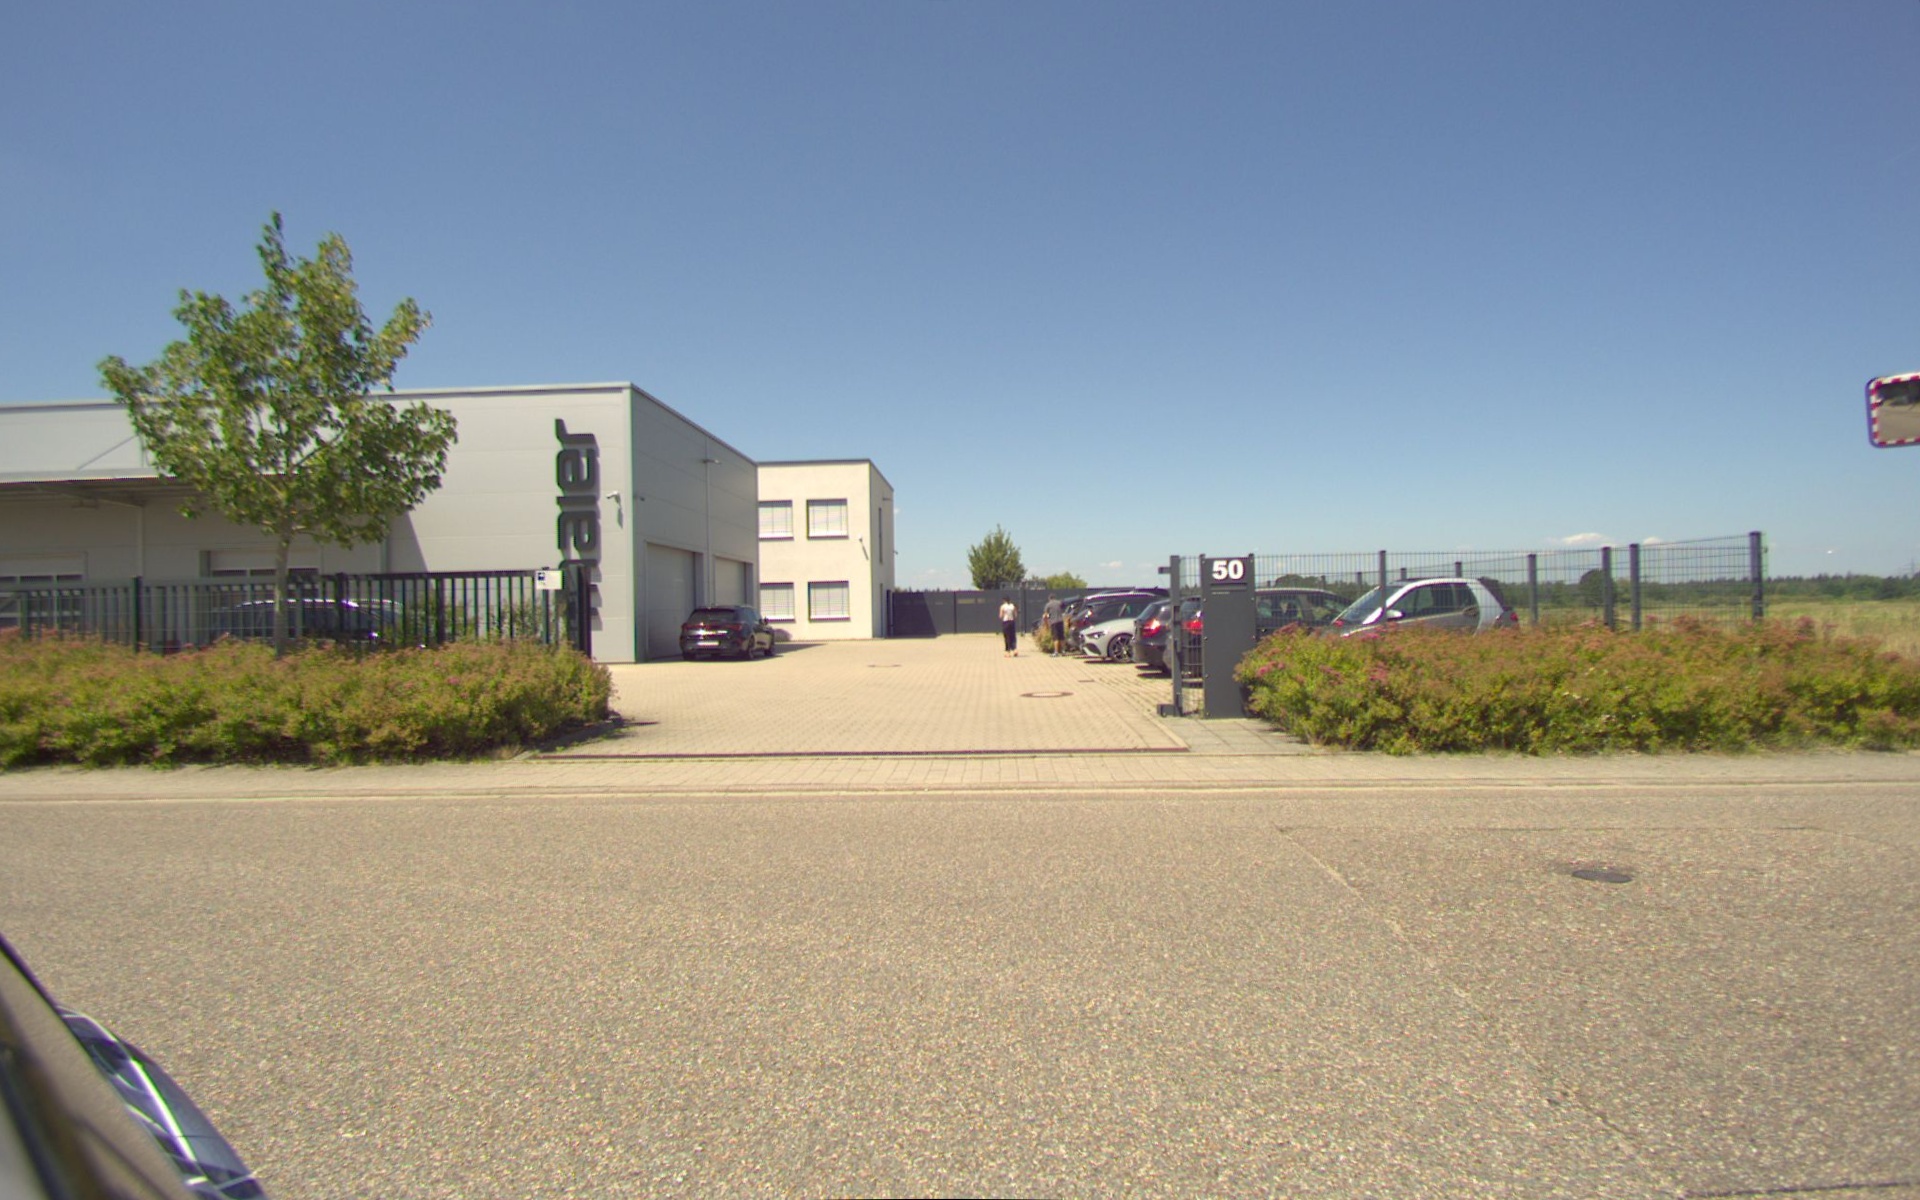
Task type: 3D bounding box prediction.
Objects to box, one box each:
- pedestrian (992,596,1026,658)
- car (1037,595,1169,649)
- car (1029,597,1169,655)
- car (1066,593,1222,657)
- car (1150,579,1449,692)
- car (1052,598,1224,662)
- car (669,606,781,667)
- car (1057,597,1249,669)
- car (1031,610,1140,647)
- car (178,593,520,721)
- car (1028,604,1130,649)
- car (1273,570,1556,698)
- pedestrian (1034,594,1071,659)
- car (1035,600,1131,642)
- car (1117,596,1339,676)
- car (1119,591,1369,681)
[{"bbox_3d":[1.335,0.717,27.483,0.762,1.641,0.623,-1,-1,-12],"label":"pedestrian"},{"bbox_3d":[4.519,0.692,32.462,3.944,1.617,1.677,-1,-1,0],"label":"car"},{"bbox_3d":[4.132,0.775,30.495,3.944,1.618,1.677,-1,-1,0],"label":"car"},{"bbox_3d":[5.019,0.678,27.998,3.944,1.618,1.677,-1,-1,0],"label":"car"},{"bbox_3d":[5.134,0.534,15.714,3.944,1.553,1.831,-1,-1,0],"label":"car"},{"bbox_3d":[4.399,0.747,25.413,3.944,1.451,1.677,-1,-1,0],"label":"car"},{"bbox_3d":[-6.002,0.893,26.239,1.775,1.431,3.866,-1,0,4],"label":"car"},{"bbox_3d":[4.263,0.729,22.766,3.944,1.451,1.677,-1,-1,0],"label":"car"},{"bbox_3d":[4.750,1.076,38.819,3.947,1.320,1.998,-1,0,3],"label":"car"},{"bbox_3d":[-9.104,0.822,15.318,4.038,1.736,1.998,-1,-1,4],"label":"car"},{"bbox_3d":[4.815,1.075,41.413,3.947,1.696,1.998,-1,0,3],"label":"car"},{"bbox_3d":[5.992,0.444,13.612,2.955,1.532,1.705,-1,-1,0],"label":"car"},{"bbox_3d":[2.463,0.696,27.061,0.817,1.695,0.713,-1,-1,-6],"label":"pedestrian"},{"bbox_3d":[5.319,0.908,44.051,3.947,1.696,1.998,-1,0,3],"label":"car"},{"bbox_3d":[5.281,0.706,20.314,3.944,1.451,1.677,-1,-1,0],"label":"car"},{"bbox_3d":[5.018,0.632,18.290,3.944,1.451,1.807,-1,-1,0],"label":"car"}]
